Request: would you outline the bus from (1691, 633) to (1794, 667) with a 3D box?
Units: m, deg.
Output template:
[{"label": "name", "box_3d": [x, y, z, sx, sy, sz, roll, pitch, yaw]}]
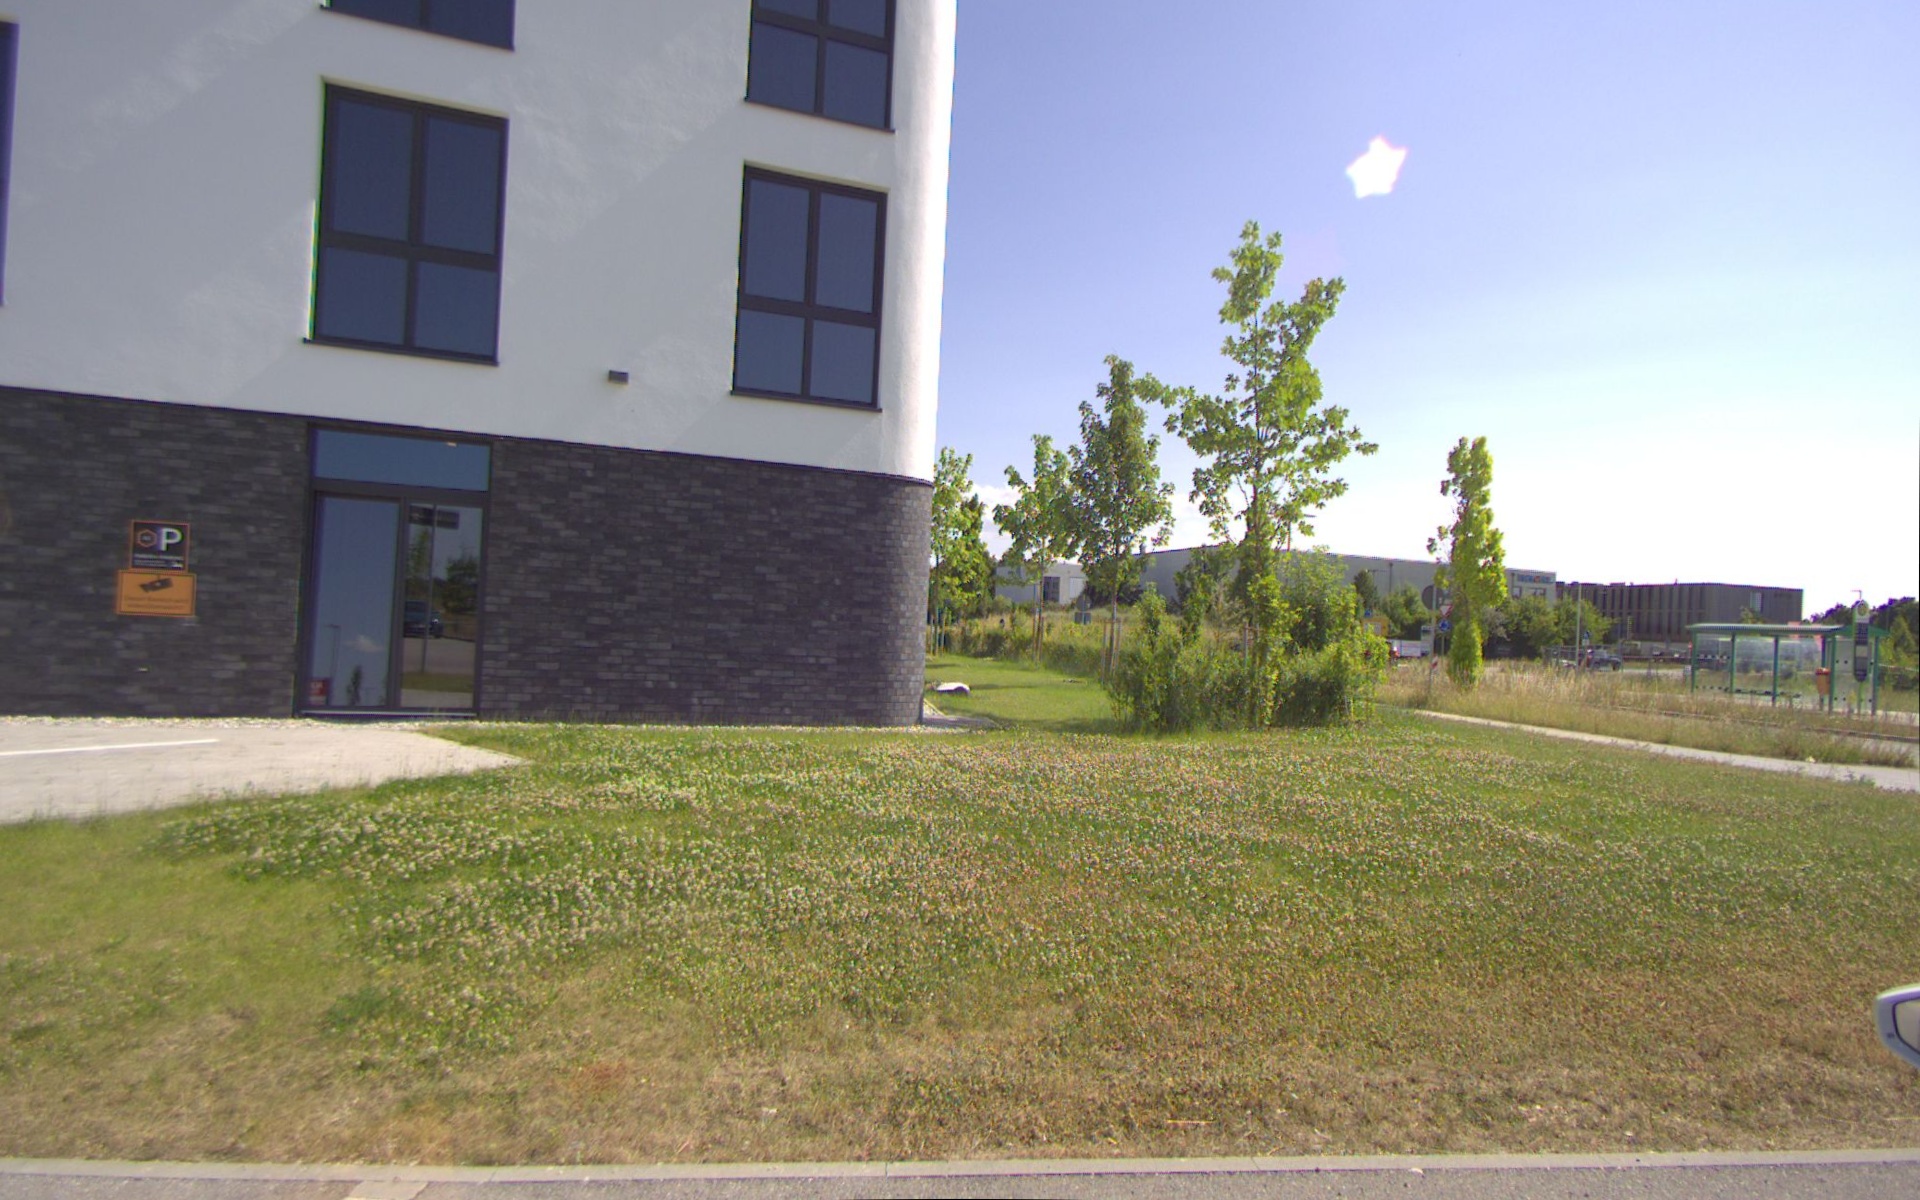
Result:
[{"label": "bus", "box_3d": [72.664, 4.665, 93.212, 11.413, 2.771, 2.564, 3, 0, -25]}]

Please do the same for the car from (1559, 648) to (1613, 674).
[{"label": "car", "box_3d": [52.830, 5.148, 84.813, 3.942, 1.884, 1.819, 4, -1, -22]}]
